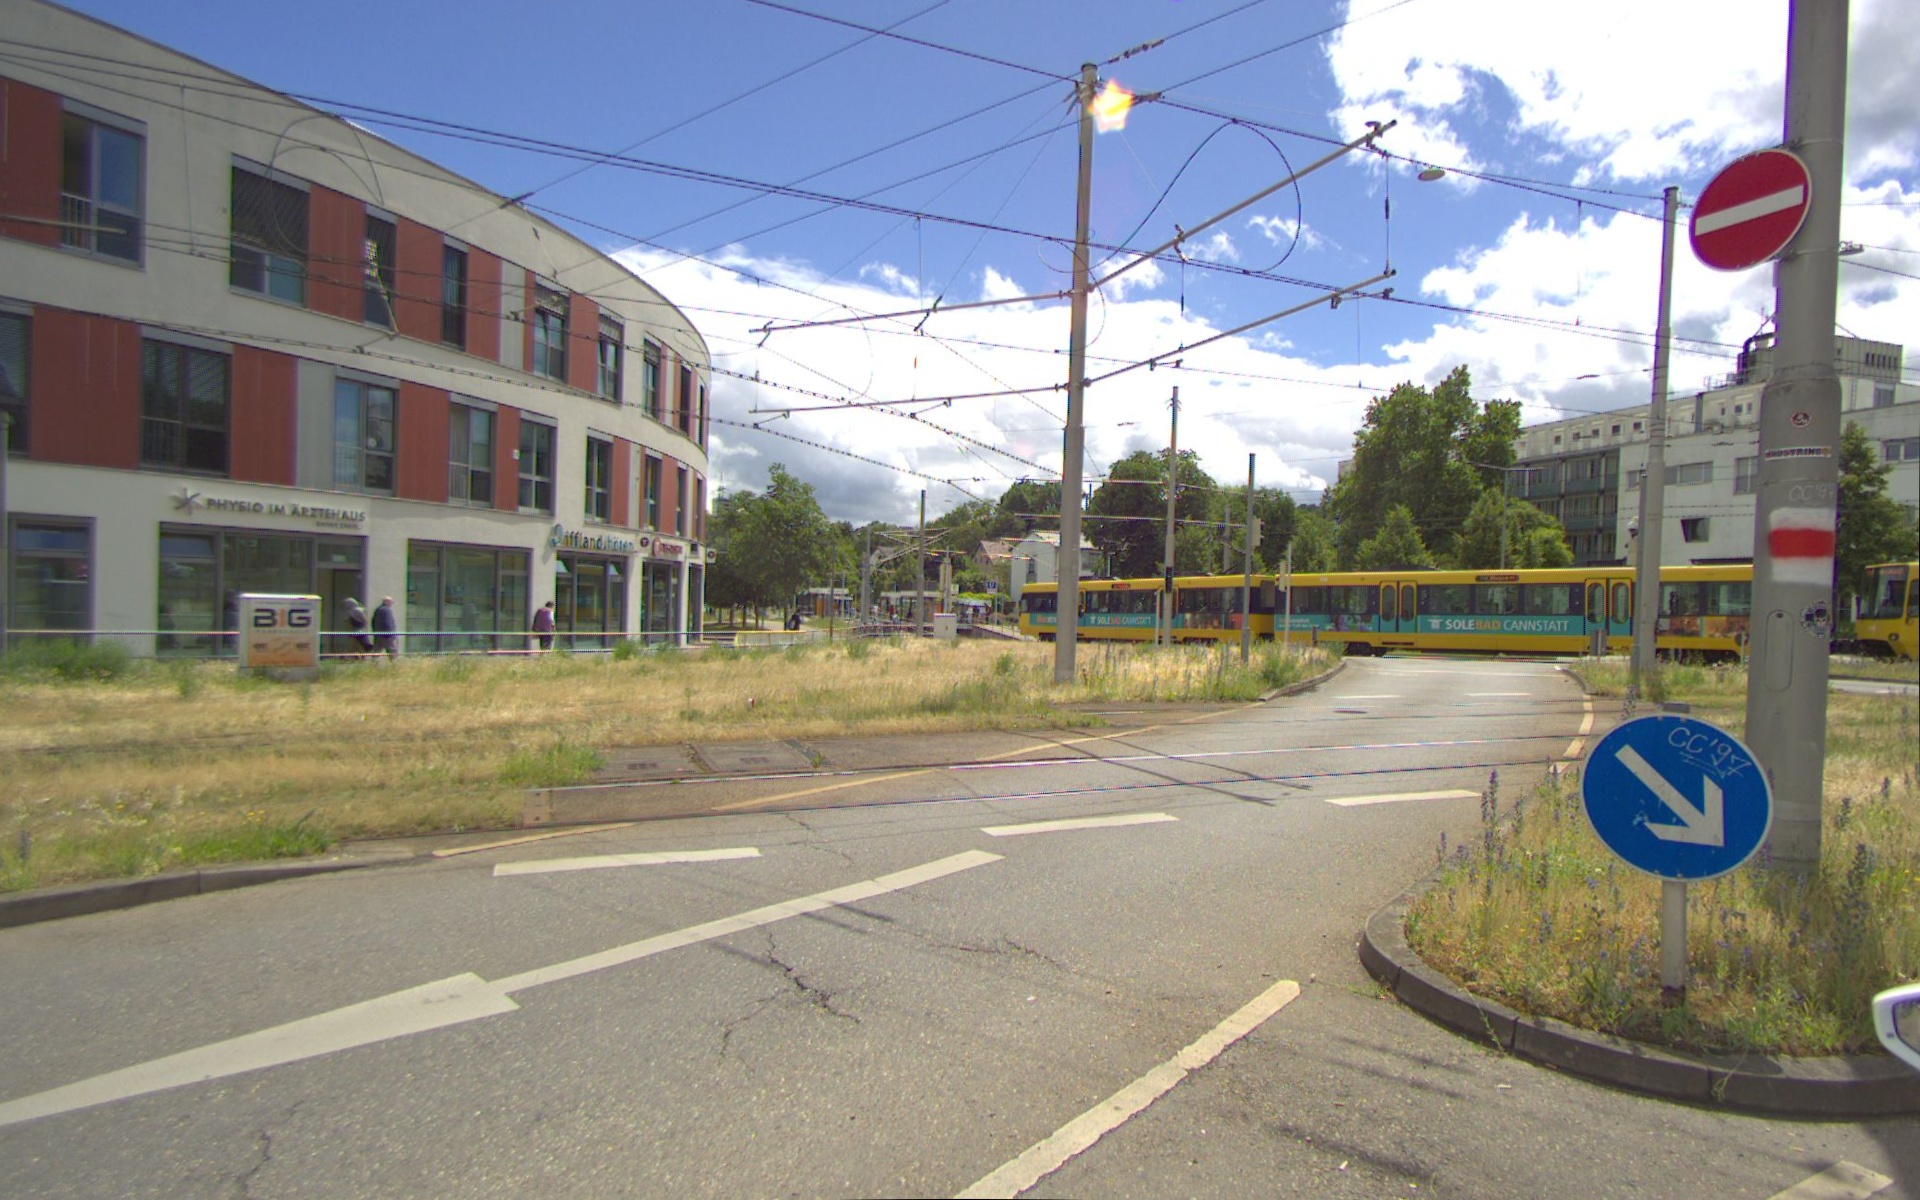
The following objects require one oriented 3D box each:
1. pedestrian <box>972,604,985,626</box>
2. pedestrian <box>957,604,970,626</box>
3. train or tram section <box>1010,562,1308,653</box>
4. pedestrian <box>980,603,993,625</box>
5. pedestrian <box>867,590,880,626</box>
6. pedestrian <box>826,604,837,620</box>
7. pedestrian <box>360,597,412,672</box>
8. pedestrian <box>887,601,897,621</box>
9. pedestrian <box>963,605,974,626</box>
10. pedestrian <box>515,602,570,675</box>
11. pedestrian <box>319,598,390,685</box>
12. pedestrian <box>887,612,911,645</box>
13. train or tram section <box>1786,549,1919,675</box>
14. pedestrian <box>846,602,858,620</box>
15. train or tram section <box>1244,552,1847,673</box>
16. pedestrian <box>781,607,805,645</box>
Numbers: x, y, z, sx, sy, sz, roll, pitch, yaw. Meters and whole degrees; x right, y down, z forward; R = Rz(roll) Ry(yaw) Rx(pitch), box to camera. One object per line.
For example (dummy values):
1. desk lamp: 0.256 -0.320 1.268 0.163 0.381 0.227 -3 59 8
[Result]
1. pedestrian: 1.478 1.226 81.046 0.824 1.755 0.795 1 0 -16
2. pedestrian: 0.305 1.205 81.756 0.824 1.777 0.795 1 0 -16
3. train or tram section: 9.503 0.498 53.124 3.720 3.970 18.733 2 -2 -32
4. pedestrian: 2.086 1.121 79.676 0.824 1.714 0.616 1 0 -16
5. pedestrian: -14.934 1.380 173.213 1.964 5.998 2.368 2 -1 -9
6. pedestrian: -17.128 1.595 133.819 1.241 2.040 1.121 2 -1 -19
7. pedestrian: -12.431 0.738 21.765 0.722 1.601 0.690 0 -1 30
8. pedestrian: -7.008 1.102 103.199 0.807 2.040 0.771 2 -1 -15
9. pedestrian: 0.724 1.271 82.488 0.744 1.707 0.671 1 0 -16
10. pedestrian: -11.827 1.089 28.483 0.849 1.994 1.104 1 -1 30
11. pedestrian: -14.318 0.973 23.764 0.849 1.994 1.114 1 -1 29
12. pedestrian: -3.159 1.466 52.041 1.020 1.646 0.980 2 -1 -19
13. train or tram section: 38.456 0.580 31.104 20.218 3.930 3.764 1 -1 14
14. pedestrian: -13.017 1.340 120.861 1.241 2.040 1.121 2 -1 -19
15. train or tram section: 21.509 0.425 39.568 19.825 3.880 3.748 0 -2 37
16. pedestrian: -7.471 1.163 44.959 0.847 1.646 0.733 1 -1 7
